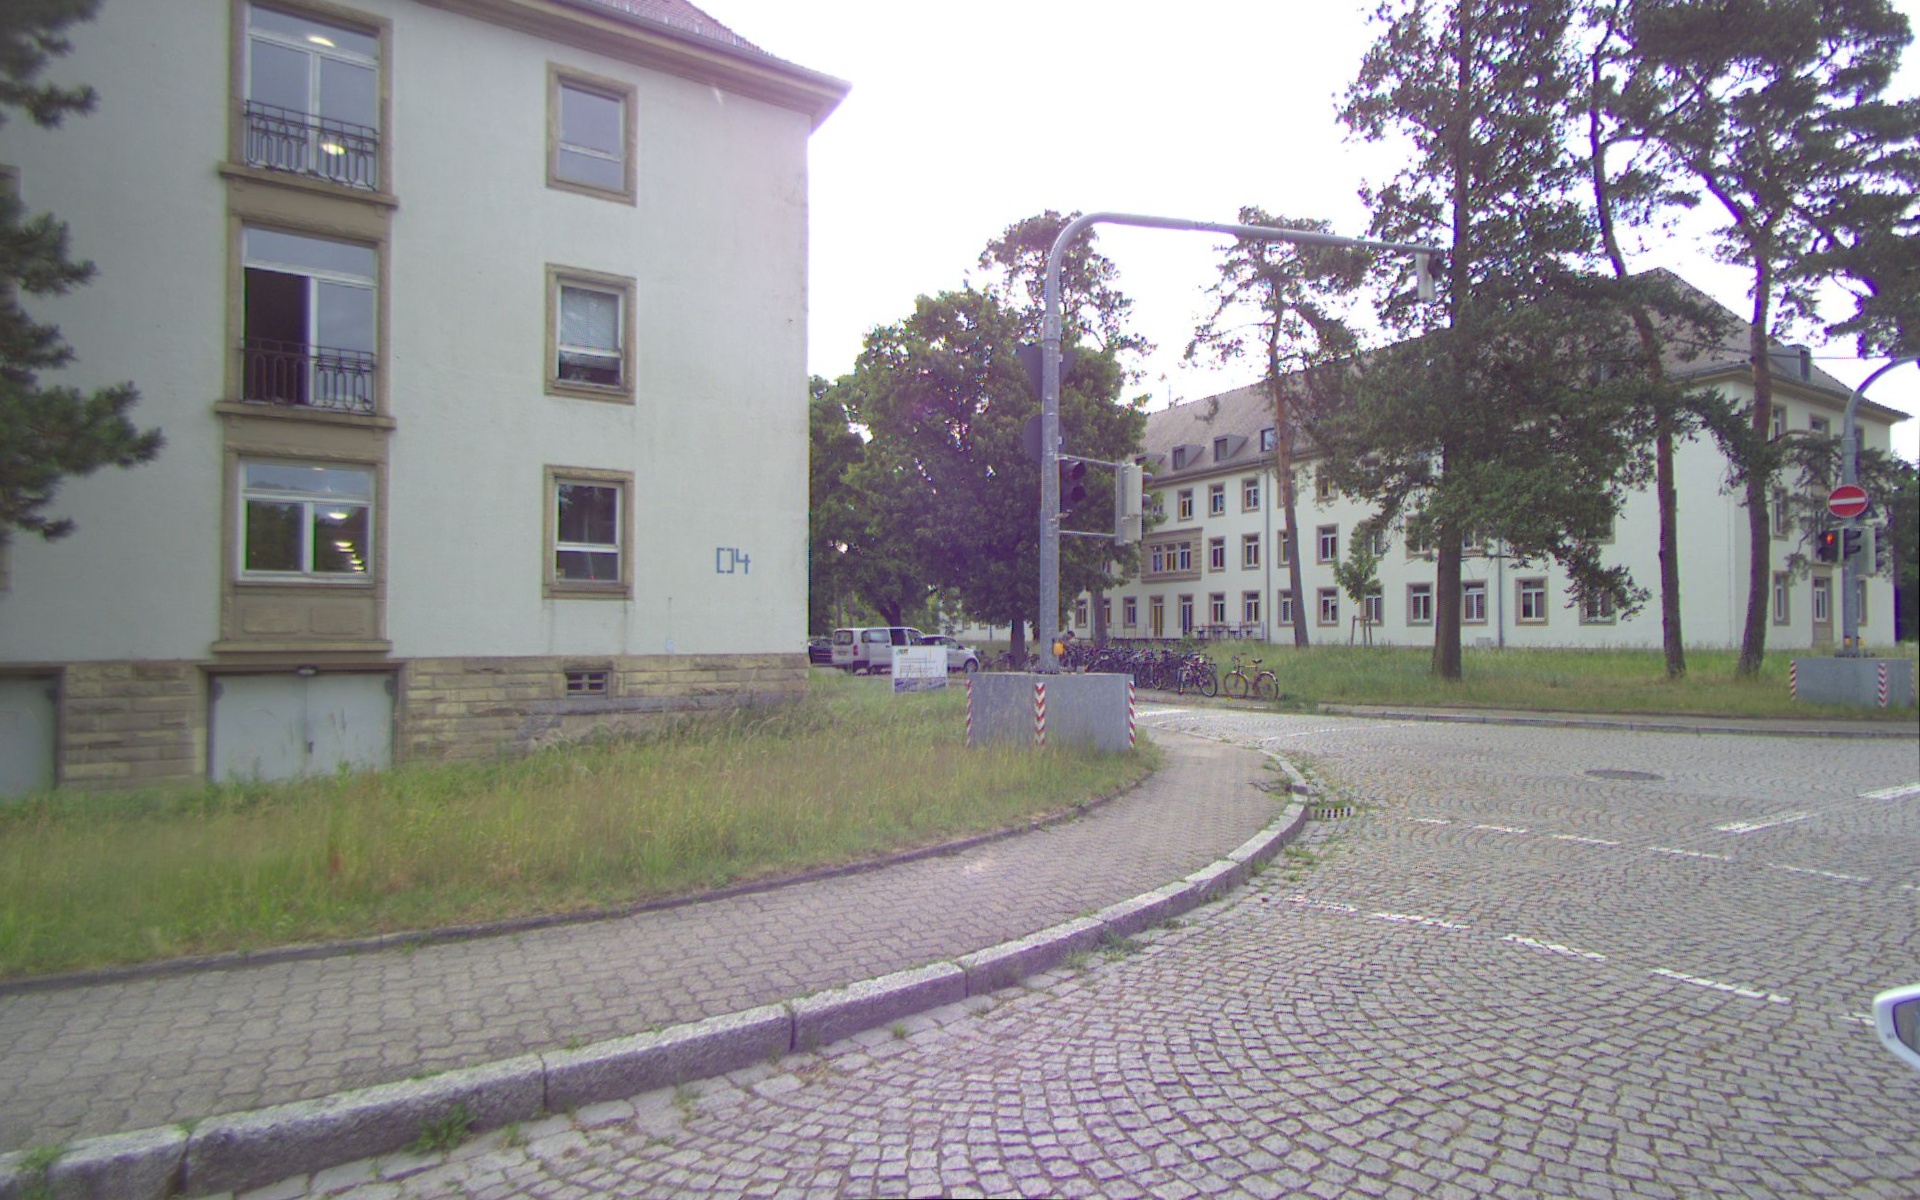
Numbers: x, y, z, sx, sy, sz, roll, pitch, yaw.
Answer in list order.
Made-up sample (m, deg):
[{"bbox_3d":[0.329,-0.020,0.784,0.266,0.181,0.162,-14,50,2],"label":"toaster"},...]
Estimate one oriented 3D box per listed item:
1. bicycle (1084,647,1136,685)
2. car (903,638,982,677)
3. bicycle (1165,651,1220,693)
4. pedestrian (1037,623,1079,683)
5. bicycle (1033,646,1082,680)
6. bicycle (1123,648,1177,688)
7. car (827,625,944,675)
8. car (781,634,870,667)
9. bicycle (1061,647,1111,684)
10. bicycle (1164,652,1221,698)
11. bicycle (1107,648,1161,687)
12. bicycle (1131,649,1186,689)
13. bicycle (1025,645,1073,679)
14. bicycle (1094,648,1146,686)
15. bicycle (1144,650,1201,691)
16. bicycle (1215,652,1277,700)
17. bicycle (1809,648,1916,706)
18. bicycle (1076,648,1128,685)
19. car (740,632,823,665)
[{"bbox_3d":[4.473,1.953,29.911,1.567,1.093,0.512,1,-3,-31],"label":"bicycle"},{"bbox_3d":[-0.685,2.240,39.707,2.756,1.446,1.509,1,-1,-31],"label":"car"},{"bbox_3d":[6.241,1.913,26.960,1.569,1.093,0.511,2,-3,-34],"label":"bicycle"},{"bbox_3d":[3.030,1.632,31.121,1.135,1.812,1.064,-1,-1,-2],"label":"pedestrian"},{"bbox_3d":[3.148,2.010,32.271,1.567,1.093,0.512,1,-3,-31],"label":"bicycle"},{"bbox_3d":[5.383,1.916,28.474,1.567,1.093,0.512,1,-3,-31],"label":"bicycle"},{"bbox_3d":[-3.086,2.073,42.259,4.877,1.978,1.839,2,-2,-44],"label":"car"},{"bbox_3d":[-6.650,2.477,49.879,4.051,1.547,1.789,2,-2,-34],"label":"car"},{"bbox_3d":[3.879,2.001,30.930,1.567,1.093,0.512,1,-3,-31],"label":"bicycle"},{"bbox_3d":[5.776,1.847,25.023,0.510,1.093,1.457,1,-3,-32],"label":"bicycle"},{"bbox_3d":[5.030,1.926,28.996,1.567,1.093,0.512,1,-3,-31],"label":"bicycle"},{"bbox_3d":[5.559,1.915,28.159,1.567,1.093,0.512,1,-3,-31],"label":"bicycle"},{"bbox_3d":[2.891,2.011,32.700,1.567,1.093,0.512,1,-3,-31],"label":"bicycle"},{"bbox_3d":[4.703,1.949,29.524,1.567,1.093,0.512,1,-3,-31],"label":"bicycle"},{"bbox_3d":[5.830,1.912,27.501,1.565,1.093,0.512,1,-2,-28],"label":"bicycle"},{"bbox_3d":[6.730,1.773,23.693,0.510,1.079,1.457,1,-3,-32],"label":"bicycle"},{"bbox_3d":[17.747,1.488,19.779,0.510,1.079,1.457,0,-2,-32],"label":"bicycle"},{"bbox_3d":[4.275,1.983,30.240,1.567,1.093,0.512,1,-3,-31],"label":"bicycle"},{"bbox_3d":[-9.667,2.616,54.480,4.052,1.716,1.789,2,-2,-34],"label":"car"}]
